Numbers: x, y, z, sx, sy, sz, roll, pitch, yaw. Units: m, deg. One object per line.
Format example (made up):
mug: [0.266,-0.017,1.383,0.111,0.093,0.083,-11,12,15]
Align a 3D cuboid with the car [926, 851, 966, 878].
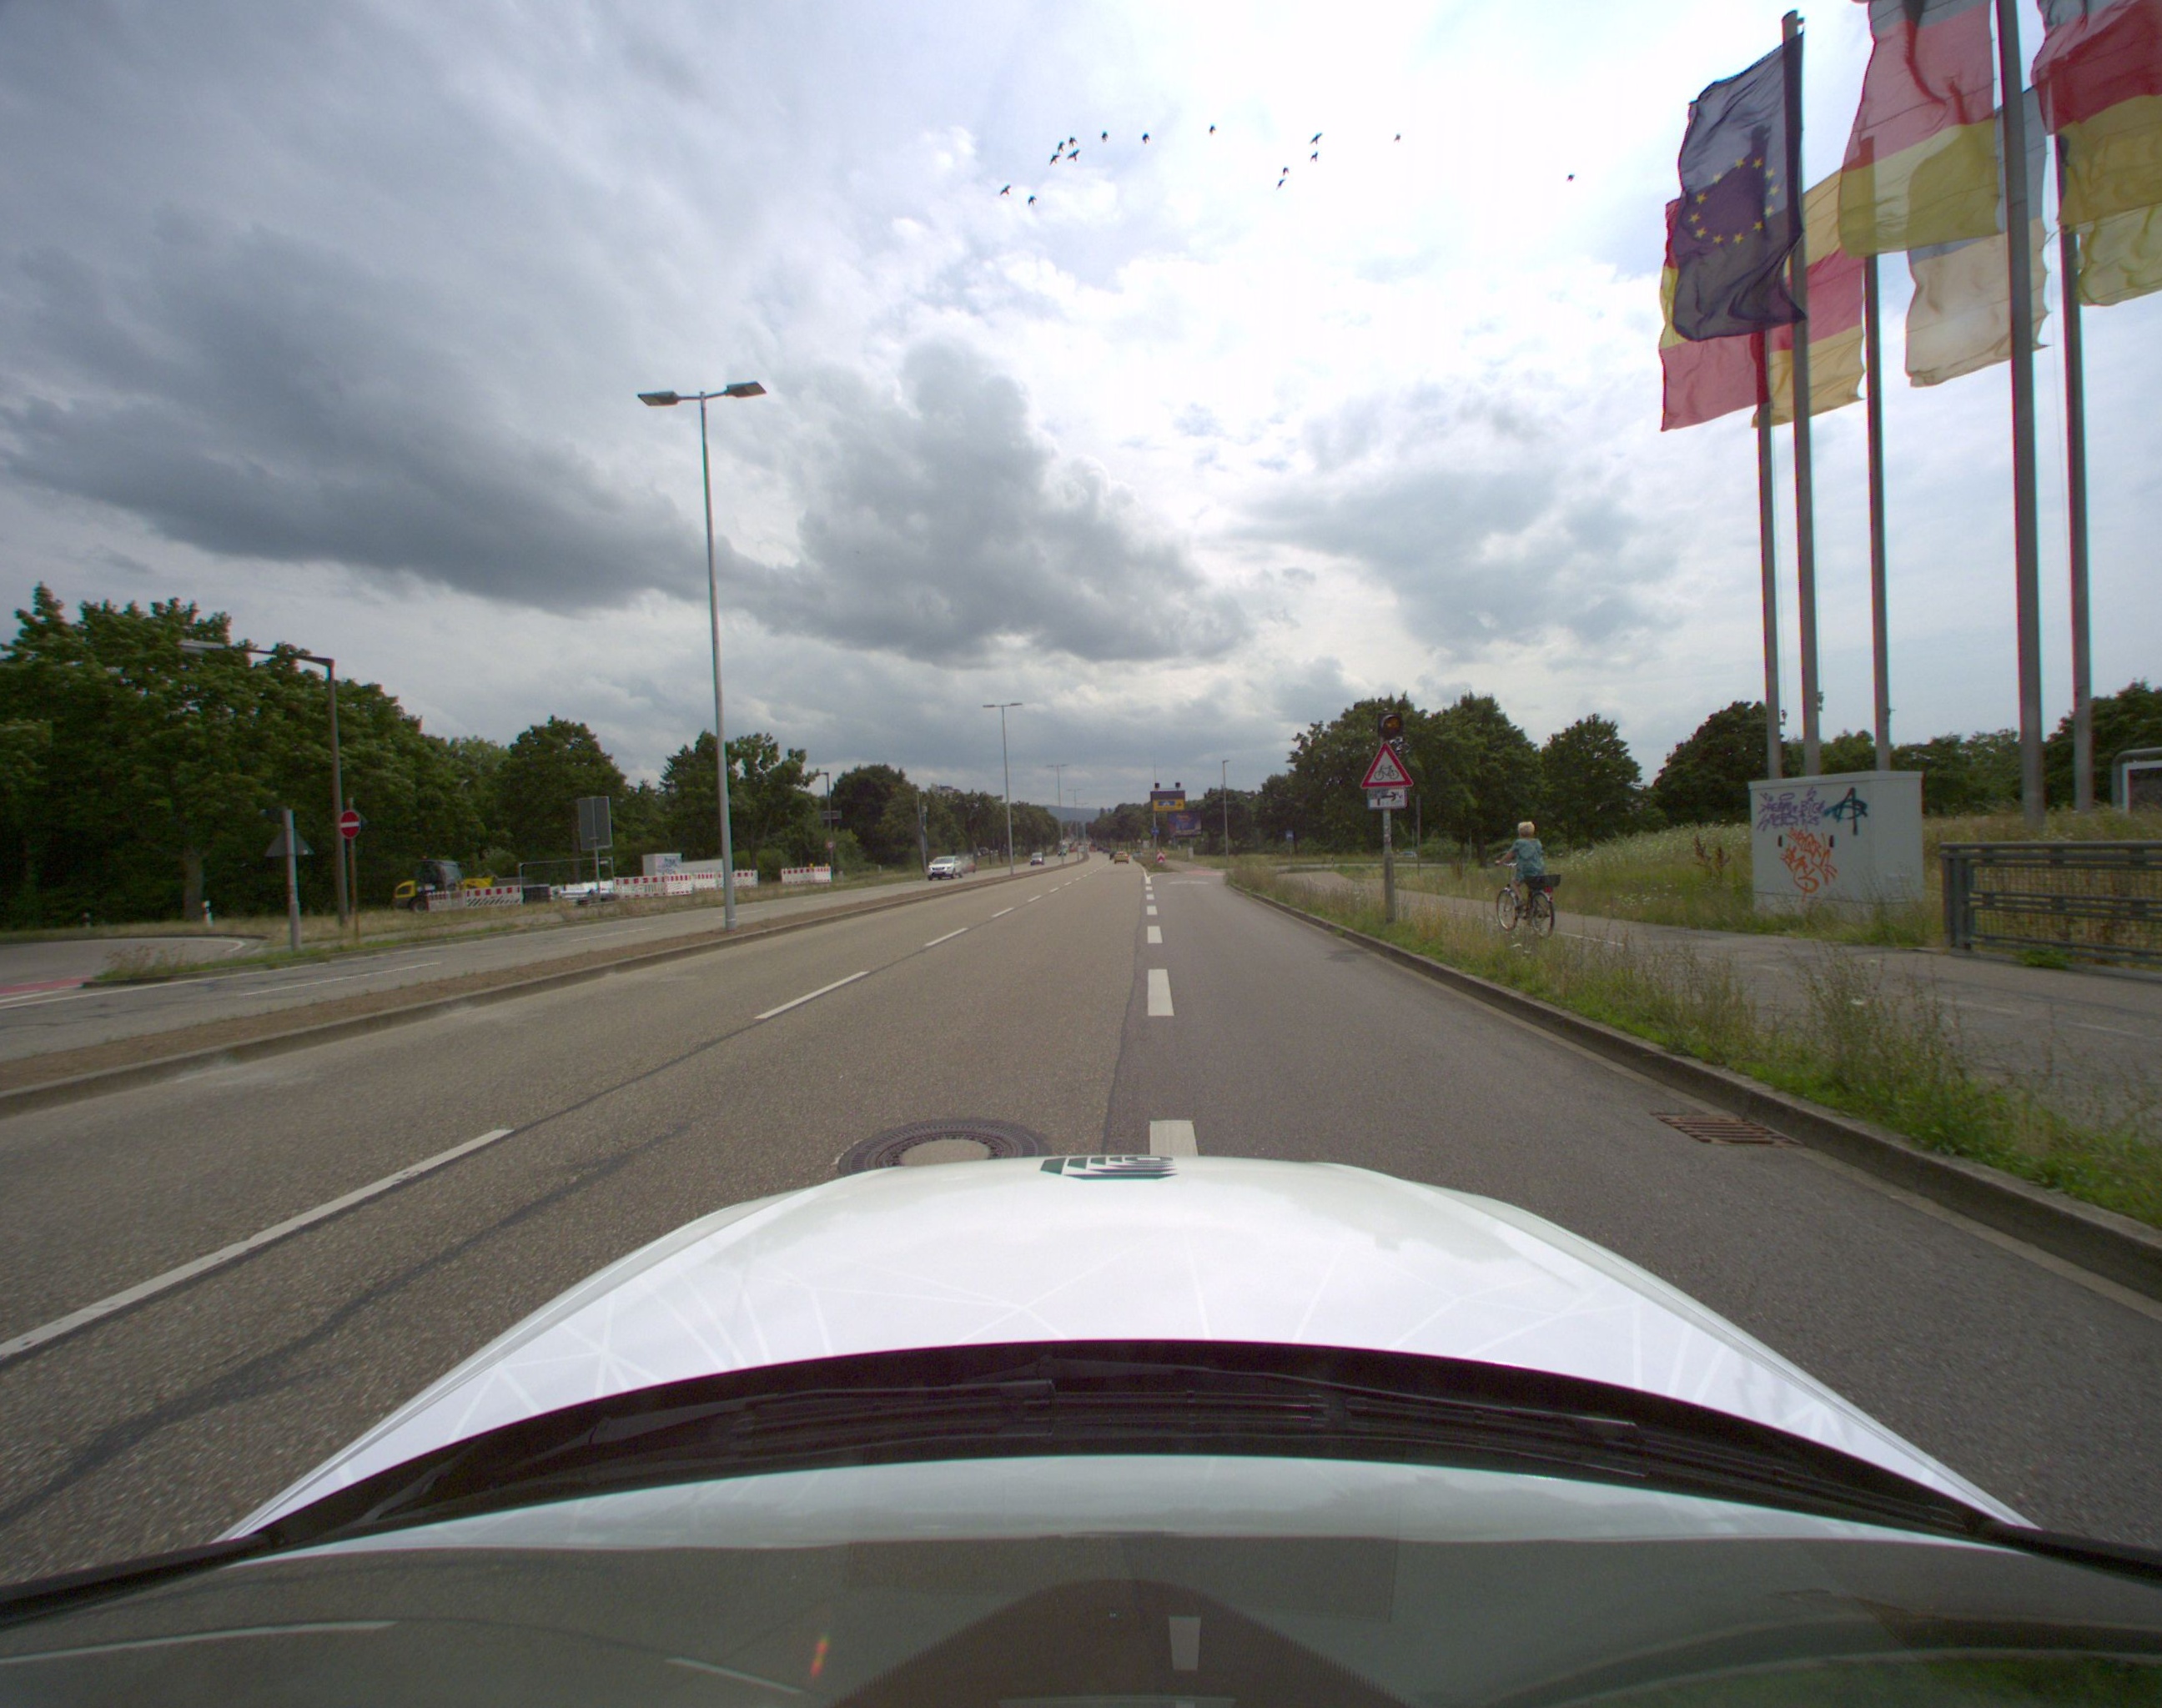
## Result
car: [-9.369,0.690,56.916,1.687,1.629,4.389,-2,1,4]

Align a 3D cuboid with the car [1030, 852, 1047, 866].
car: [-6.124,0.709,117.413,1.895,1.809,4.543,-2,1,3]

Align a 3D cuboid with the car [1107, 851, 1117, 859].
car: [5.509,0.104,144.720,1.661,1.269,4.002,-2,1,1]

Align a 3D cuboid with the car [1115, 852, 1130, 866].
car: [5.131,0.555,101.441,1.787,1.561,4.002,-2,1,1]

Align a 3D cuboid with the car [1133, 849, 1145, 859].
car: [10.939,0.027,153.052,2.006,1.670,4.002,-2,1,1]

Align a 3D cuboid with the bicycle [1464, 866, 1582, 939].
bicycle: [6.464,0.670,12.053,0.621,0.888,2.156,-2,1,2]

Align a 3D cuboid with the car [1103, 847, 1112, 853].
car: [7.267,-1.064,223.425,2.197,1.683,4.003,-2,1,2]

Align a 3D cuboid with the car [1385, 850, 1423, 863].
car: [39.856,0.308,100.497,3.950,1.464,1.783,-1,2,44]

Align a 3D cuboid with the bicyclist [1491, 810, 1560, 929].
bicyclist: [6.447,0.214,11.832,0.619,1.666,0.669,-2,1,2]

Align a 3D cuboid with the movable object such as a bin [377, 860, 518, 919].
movable object such as a bin: [-28.757,1.556,37.121,4.574,2.396,1.995,-2,1,-7]

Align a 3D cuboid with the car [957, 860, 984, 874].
car: [-11.232,1.296,82.902,1.394,1.244,3.905,-1,0,13]

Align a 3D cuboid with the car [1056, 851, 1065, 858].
car: [-5.242,0.089,211.477,1.986,1.811,4.800,-3,1,2]
